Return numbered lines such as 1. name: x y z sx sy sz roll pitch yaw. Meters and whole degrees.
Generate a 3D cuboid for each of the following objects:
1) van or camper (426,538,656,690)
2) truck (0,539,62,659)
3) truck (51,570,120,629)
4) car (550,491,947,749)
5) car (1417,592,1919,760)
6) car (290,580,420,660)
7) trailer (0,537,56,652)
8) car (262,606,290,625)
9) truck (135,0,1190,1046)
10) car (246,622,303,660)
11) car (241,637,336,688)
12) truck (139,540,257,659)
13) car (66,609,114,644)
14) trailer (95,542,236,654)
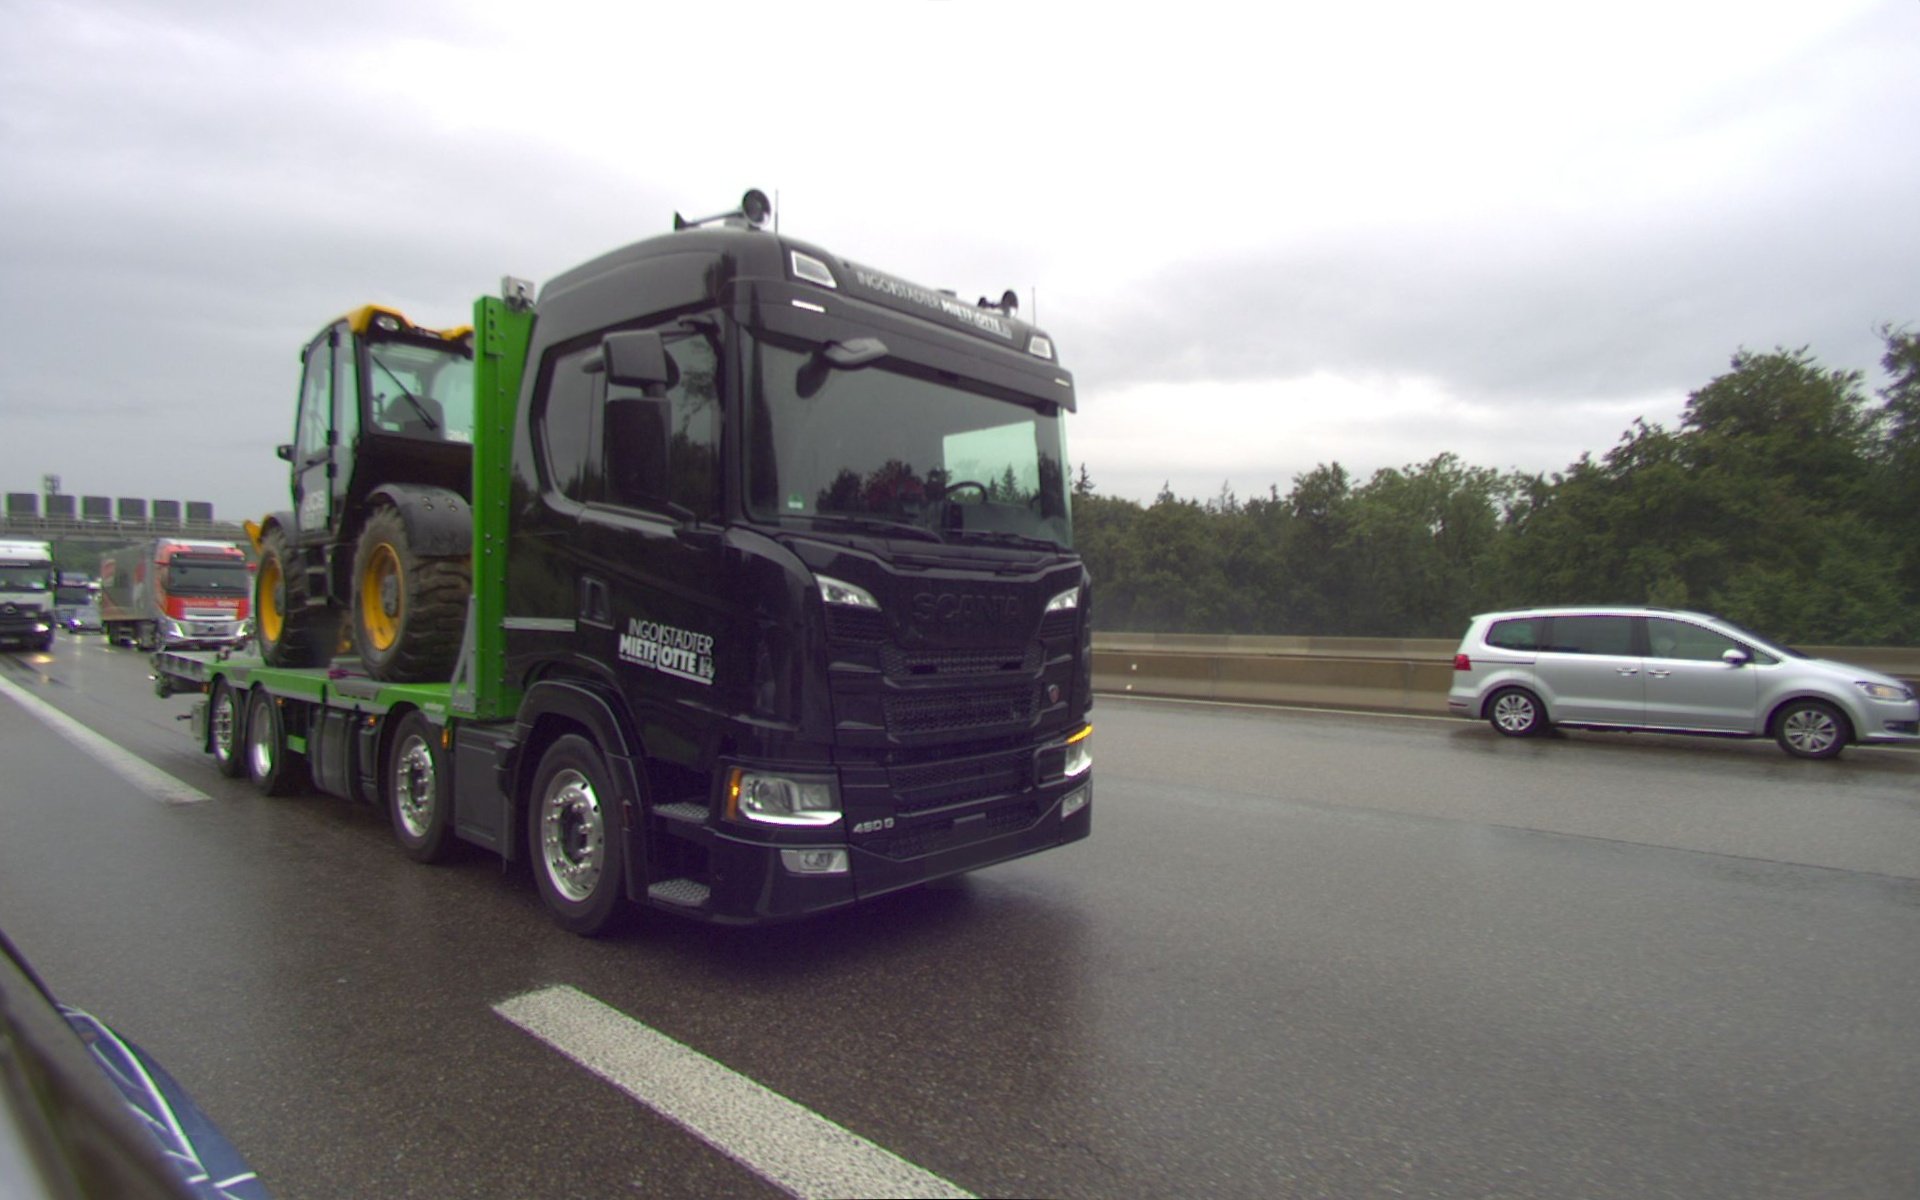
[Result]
1. van or camper: -10.472 0.308 24.882 7.132 3.228 2.551 0 0 44
2. truck: -35.393 -0.054 37.448 2.885 4.130 6.723 1 0 -45
3. truck: -67.366 -0.174 77.843 3.308 4.100 12.585 -4 4 -43
4. car: -3.005 0.215 13.233 5.845 2.649 2.190 0 0 44
5. car: 8.633 0.822 12.533 5.080 1.696 1.972 -1 -2 42
6. car: -21.164 0.636 35.196 7.369 2.507 2.124 0 0 45
7. trailer: -40.068 -0.239 42.197 2.885 4.237 13.645 1 0 -45
8. car: -76.592 1.719 113.302 1.970 2.029 4.743 -2 1 -42
9. truck: -4.016 -0.283 8.425 11.797 3.616 2.800 0 -1 43
10. car: -38.687 2.283 57.086 4.000 1.785 1.739 1 4 43
11. car: -23.998 2.160 36.104 4.764 1.534 1.905 0 0 45
12. truck: -26.991 0.003 35.786 4.590 3.893 2.598 0 -1 44
13. car: -51.326 1.512 59.680 4.001 1.785 1.738 2 4 44
14. trailer: -32.484 -0.024 41.062 13.679 3.893 2.597 0 -1 44
